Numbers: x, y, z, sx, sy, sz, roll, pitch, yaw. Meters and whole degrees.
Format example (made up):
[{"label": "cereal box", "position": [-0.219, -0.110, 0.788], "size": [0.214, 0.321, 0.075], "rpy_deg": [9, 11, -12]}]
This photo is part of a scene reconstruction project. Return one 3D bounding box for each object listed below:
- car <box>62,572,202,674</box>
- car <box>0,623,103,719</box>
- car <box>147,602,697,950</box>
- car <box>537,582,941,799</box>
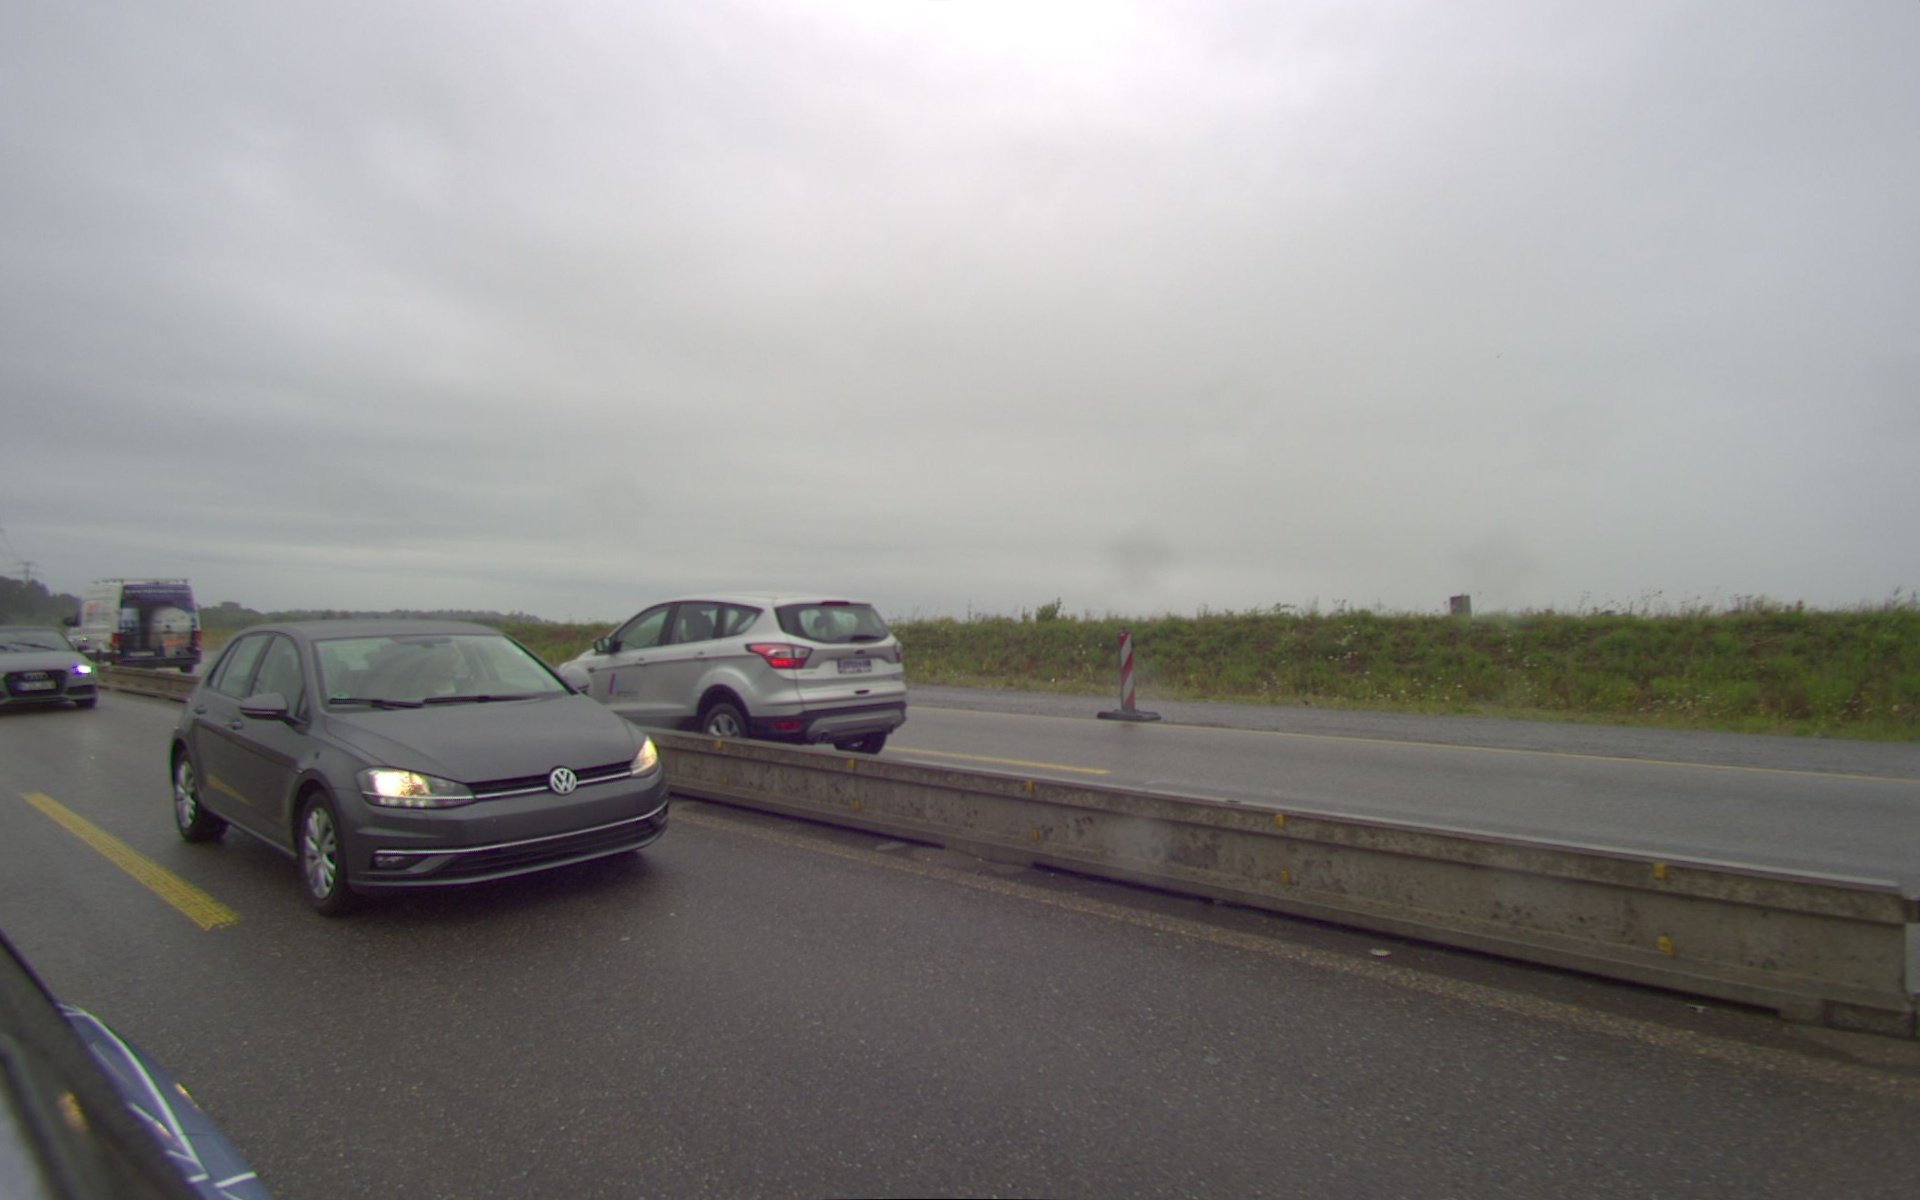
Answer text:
[{"label": "car", "position": [-23.190, 0.660, 28.239], "size": [5.954, 2.568, 2.003], "rpy_deg": [-2, -2, 41]}, {"label": "car", "position": [-16.360, 1.151, 17.372], "size": [4.265, 1.407, 1.777], "rpy_deg": [-1, 1, 39]}, {"label": "car", "position": [-3.483, 0.746, 6.183], "size": [4.079, 1.433, 1.632], "rpy_deg": [0, 0, 41]}, {"label": "car", "position": [-2.384, 0.750, 10.225], "size": [4.286, 1.736, 1.772], "rpy_deg": [-1, 0, 41]}]
